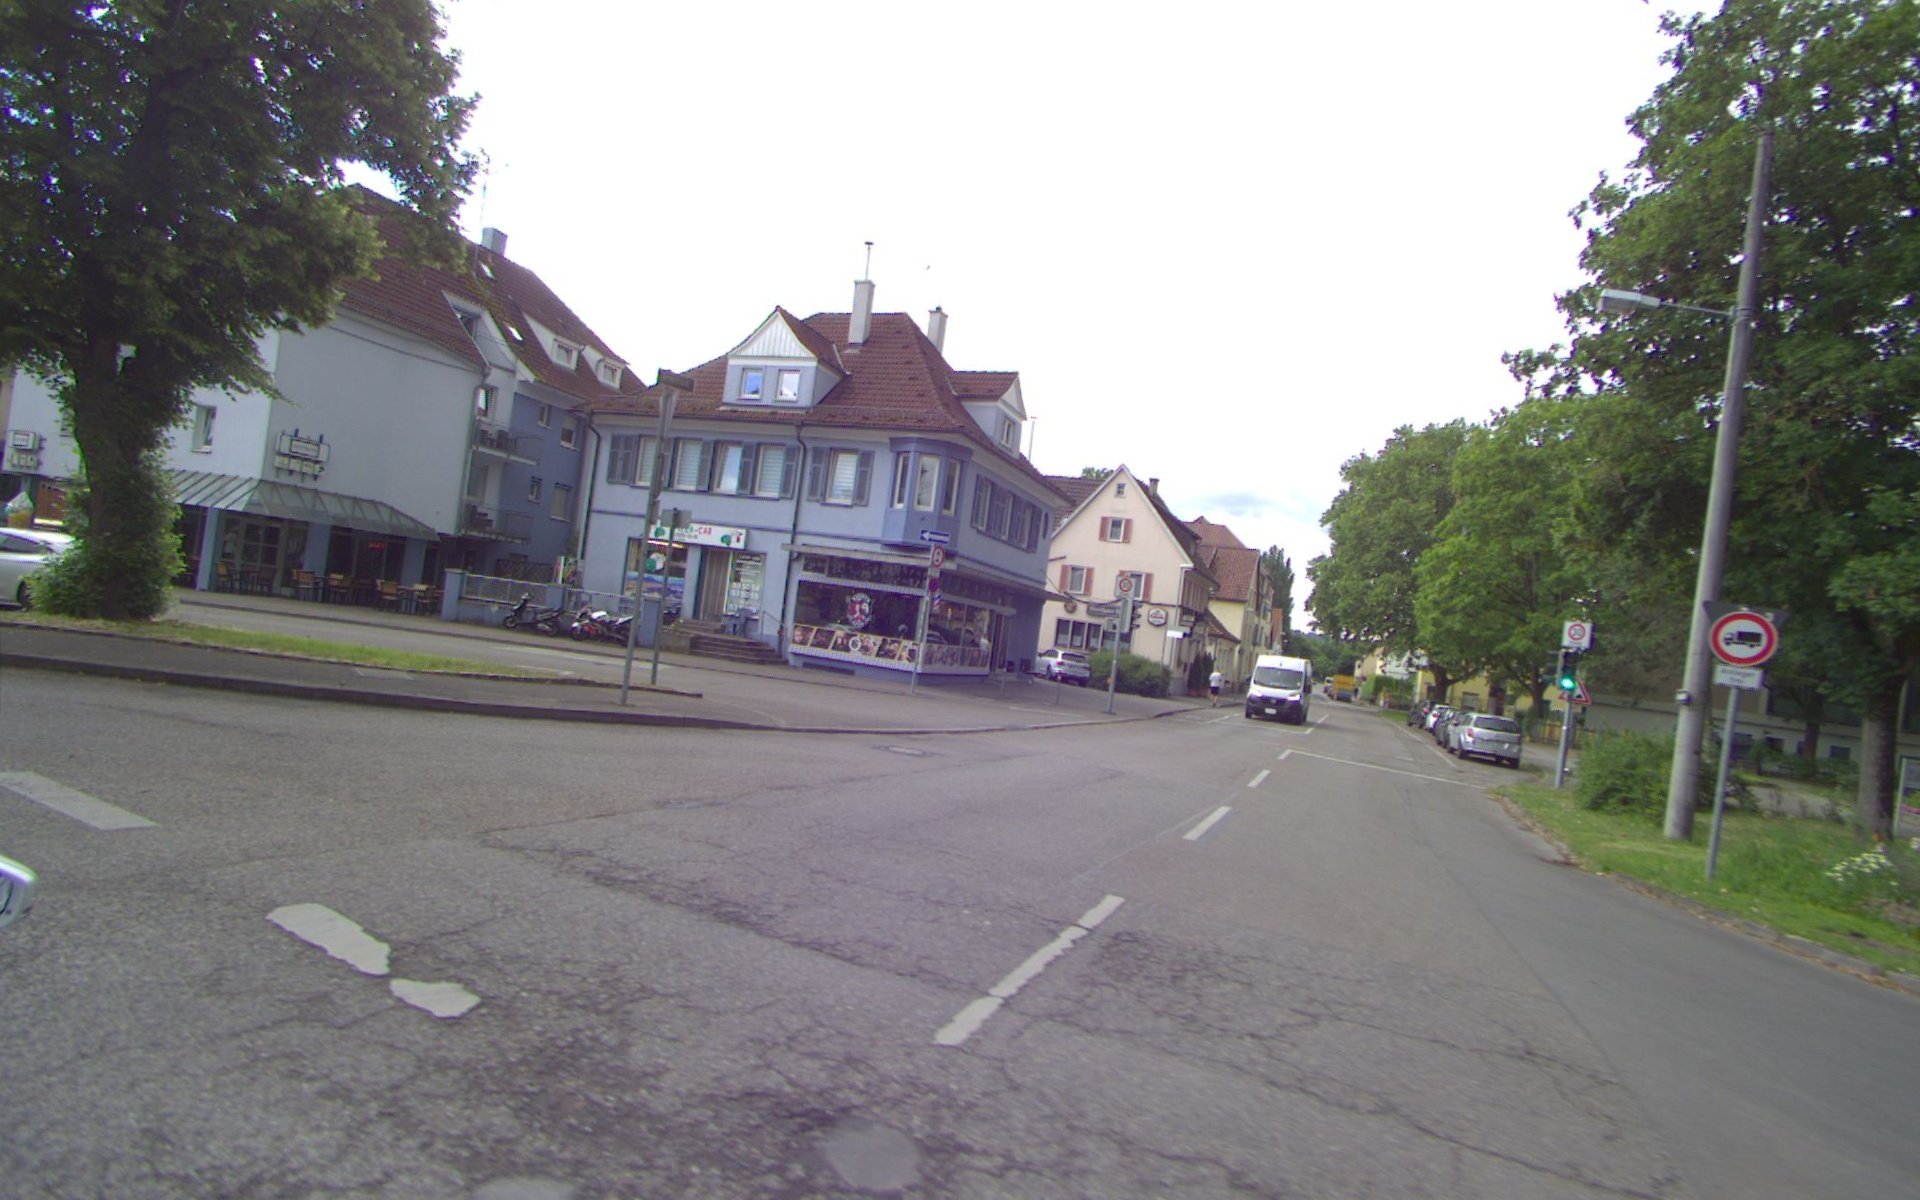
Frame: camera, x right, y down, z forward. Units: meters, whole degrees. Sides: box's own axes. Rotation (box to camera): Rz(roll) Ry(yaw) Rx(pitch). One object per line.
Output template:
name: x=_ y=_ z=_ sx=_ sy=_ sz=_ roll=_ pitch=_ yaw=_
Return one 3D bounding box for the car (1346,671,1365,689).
car: x=51.154 y=10.399 z=130.214 sx=1.963 sy=2.037 sz=4.003 roll=7 pitch=-2 yaw=19

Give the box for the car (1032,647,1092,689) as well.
car: x=4.479 y=2.981 z=44.533 sx=1.545 sy=1.479 sz=3.434 roll=8 pitch=-2 yaw=-11

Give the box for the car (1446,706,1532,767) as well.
car: x=16.722 y=4.267 z=31.999 sx=1.866 sy=1.473 sz=4.547 roll=6 pitch=-2 yaw=23

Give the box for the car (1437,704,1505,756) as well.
car: x=18.749 y=4.726 z=37.056 sx=1.768 sy=1.473 sz=3.960 roll=6 pitch=-2 yaw=22

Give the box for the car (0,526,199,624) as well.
car: x=-16.864 y=-0.566 z=18.000 sx=4.705 sy=1.403 sz=1.998 roll=7 pitch=-1 yaw=-7

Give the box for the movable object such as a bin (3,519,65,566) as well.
movable object such as a bin: x=-32.774 y=-2.034 z=35.600 sx=1.075 sy=1.433 sz=1.217 roll=6 pitch=-1 yaw=27

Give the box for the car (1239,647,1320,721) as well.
car: x=12.571 y=3.270 z=39.321 sx=2.294 sy=2.420 sz=5.960 roll=6 pitch=-2 yaw=23

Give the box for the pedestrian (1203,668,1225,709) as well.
pedestrian: x=11.418 y=3.972 z=45.174 sx=0.743 sy=1.717 sz=0.647 roll=7 pitch=-1 yaw=20

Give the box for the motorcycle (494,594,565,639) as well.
motorcycle: x=-12.084 y=0.456 z=28.245 sx=1.693 sy=1.044 sz=0.490 roll=7 pitch=0 yaw=1

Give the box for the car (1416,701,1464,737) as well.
car: x=24.877 y=6.143 z=52.238 sx=1.890 sy=1.473 sz=4.403 roll=6 pitch=-2 yaw=23

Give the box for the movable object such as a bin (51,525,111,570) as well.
movable object such as a bin: x=-32.150 y=-1.927 z=36.807 sx=1.141 sy=1.412 sz=1.217 roll=6 pitch=-1 yaw=27

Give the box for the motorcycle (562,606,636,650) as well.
motorcycle: x=-10.007 y=0.770 z=27.915 sx=1.789 sy=0.997 sz=0.522 roll=7 pitch=-1 yaw=1

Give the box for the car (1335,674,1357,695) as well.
car: x=43.219 y=9.448 z=112.642 sx=1.963 sy=2.037 sz=4.003 roll=7 pitch=-2 yaw=19

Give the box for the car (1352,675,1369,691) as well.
car: x=58.757 y=12.145 z=147.569 sx=1.963 sy=1.970 sz=4.003 roll=7 pitch=-2 yaw=19
